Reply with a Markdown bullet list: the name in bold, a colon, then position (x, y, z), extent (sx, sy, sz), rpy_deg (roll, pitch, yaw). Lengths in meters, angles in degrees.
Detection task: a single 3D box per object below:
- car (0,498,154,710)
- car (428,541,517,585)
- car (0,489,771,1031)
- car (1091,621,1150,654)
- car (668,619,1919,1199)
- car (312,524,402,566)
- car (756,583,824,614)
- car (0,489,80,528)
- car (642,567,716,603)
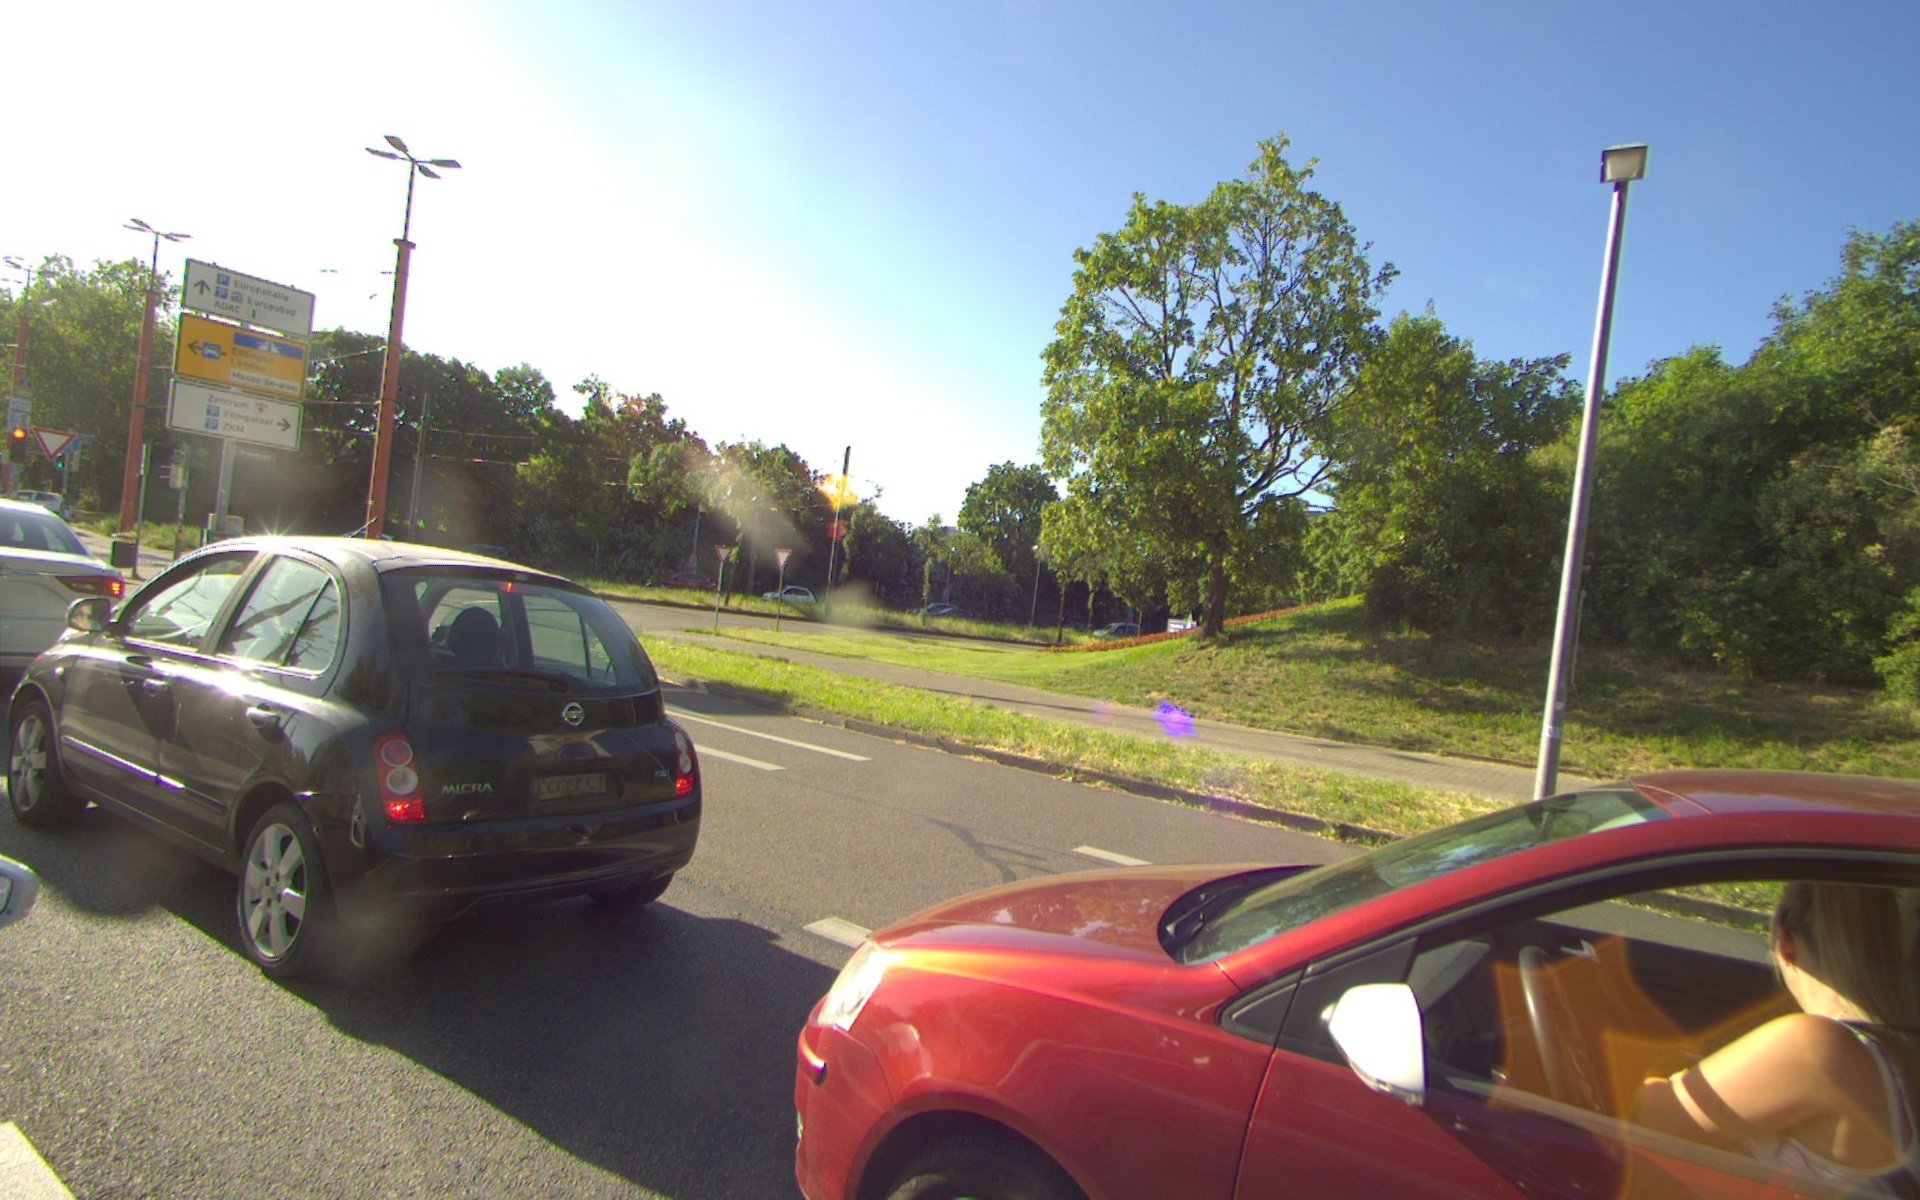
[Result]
- **car**: position (-8.358, -0.172, 8.023), extent (4.130, 1.454, 1.723), rpy_deg (7, -1, 33)
- **car**: position (-27.803, -2.120, 57.421), extent (4.169, 1.906, 1.750), rpy_deg (8, -1, -35)
- **car**: position (-2.854, 0.462, 4.714), extent (3.555, 1.518, 1.657), rpy_deg (7, -2, 32)
- **car**: position (12.982, 3.021, 81.140), extent (4.217, 2.038, 1.984), rpy_deg (8, -1, -30)
- **car**: position (1.404, 1.010, 1.870), extent (3.700, 1.455, 1.644), rpy_deg (6, -2, 33)
- **car**: position (-34.051, -3.086, 56.920), extent (4.200, 1.701, 1.689), rpy_deg (8, -1, -32)
- **car**: position (-11.267, -0.088, 66.829), extent (3.970, 1.546, 1.694), rpy_deg (8, -1, -30)
- **car**: position (-45.941, -4.542, 49.683), extent (3.414, 1.384, 1.280), rpy_deg (9, -2, -32)
- **car**: position (-18.511, -0.986, 66.334), extent (4.257, 1.725, 1.833), rpy_deg (8, -1, -29)
